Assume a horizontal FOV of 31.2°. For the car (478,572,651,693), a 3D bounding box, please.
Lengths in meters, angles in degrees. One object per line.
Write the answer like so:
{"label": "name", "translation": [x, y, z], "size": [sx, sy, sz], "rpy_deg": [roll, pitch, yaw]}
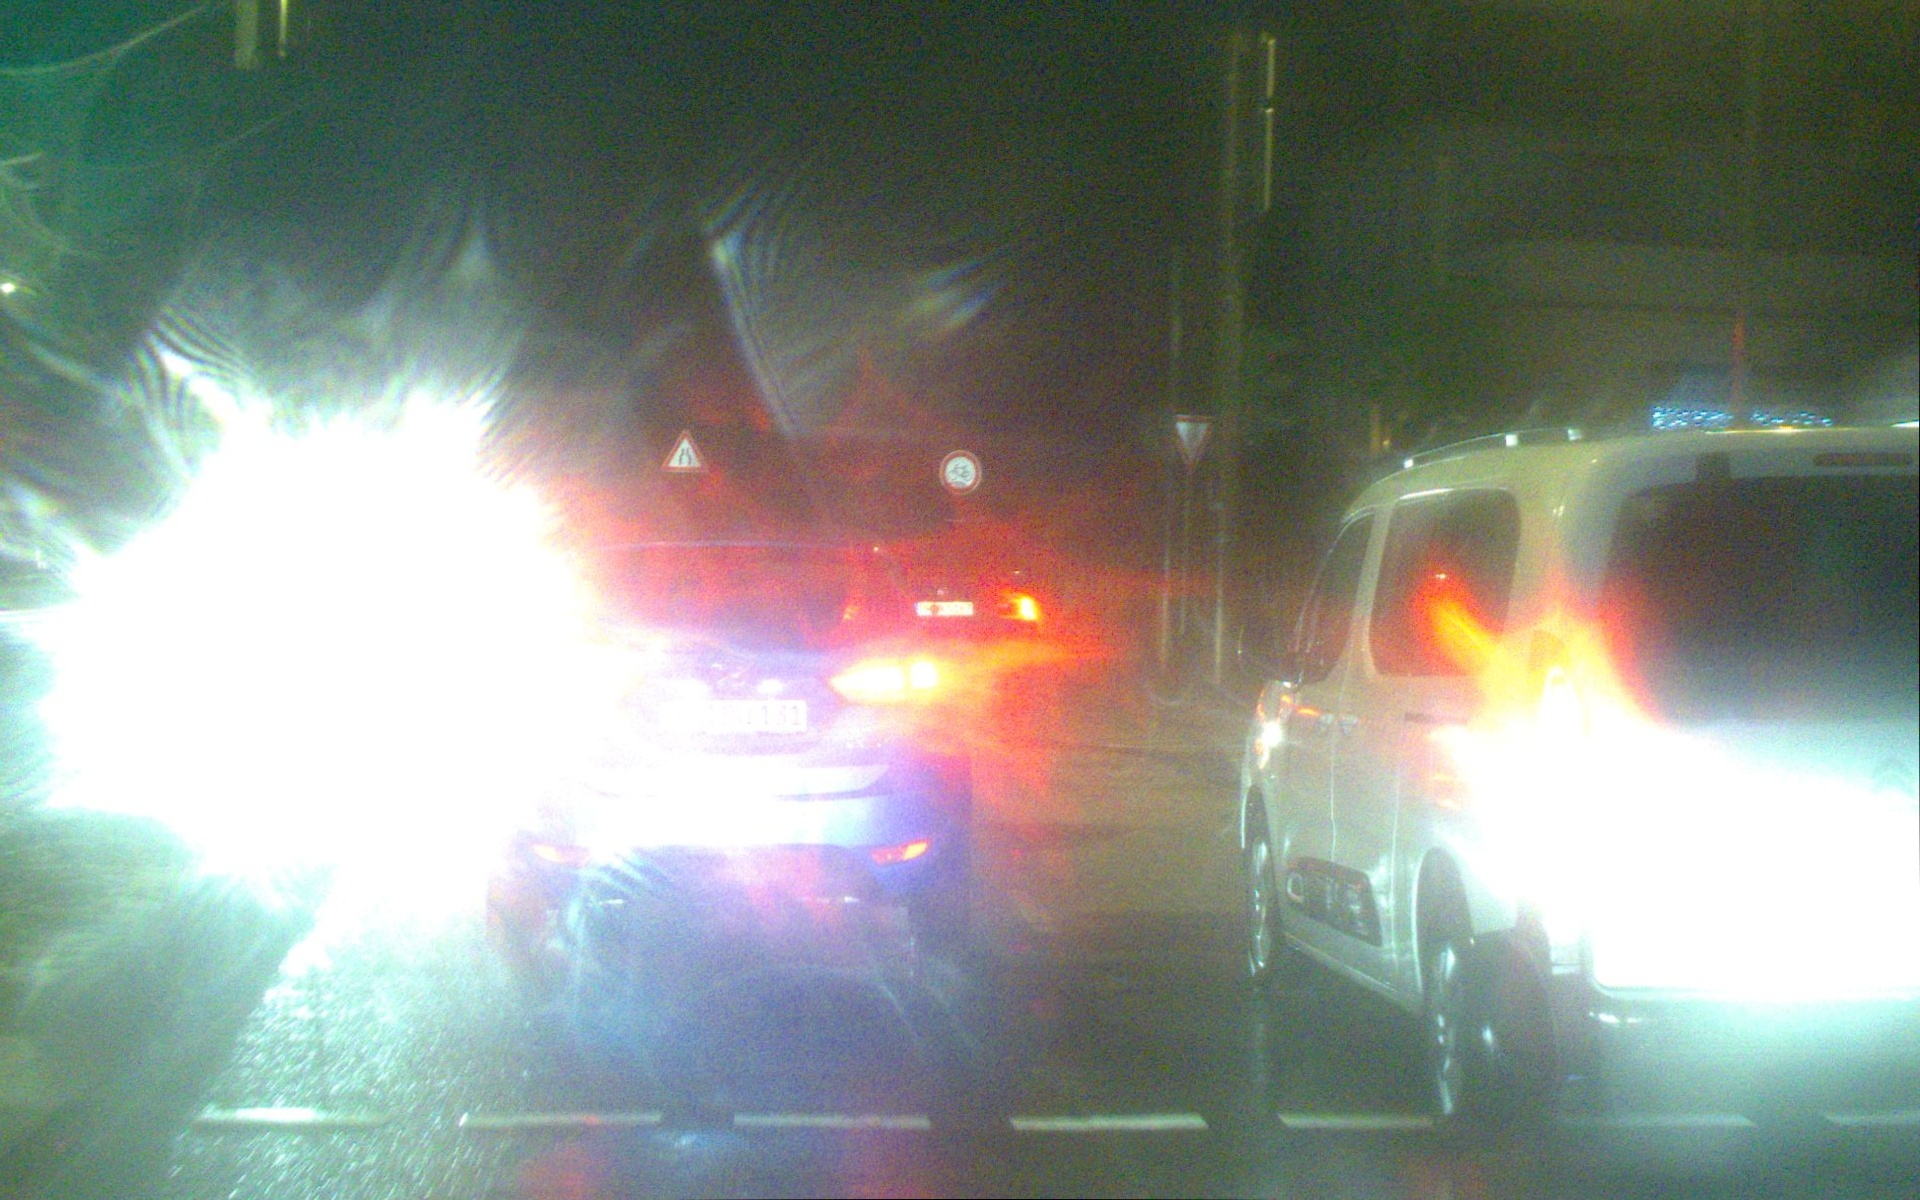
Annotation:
{"label": "car", "translation": [-6.070, 0.472, 52.354], "size": [1.993, 1.712, 4.001], "rpy_deg": [1, 1, -16]}

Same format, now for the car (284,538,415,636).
{"label": "car", "translation": [-11.387, -0.266, 63.928], "size": [1.993, 1.726, 4.001], "rpy_deg": [1, 1, -16]}

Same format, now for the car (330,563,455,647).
{"label": "car", "translation": [-11.994, 0.080, 72.499], "size": [1.993, 1.664, 4.001], "rpy_deg": [1, 1, -18]}

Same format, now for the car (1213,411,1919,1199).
{"label": "car", "translation": [1.928, 0.485, 9.990], "size": [1.851, 1.858, 4.341], "rpy_deg": [1, 1, -2]}

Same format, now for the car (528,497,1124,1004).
{"label": "car", "translation": [-0.578, 0.485, 14.006], "size": [2.014, 1.711, 4.452], "rpy_deg": [1, 1, -3]}

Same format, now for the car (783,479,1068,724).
{"label": "car", "translation": [-0.386, -0.014, 30.938], "size": [1.968, 2.040, 4.001], "rpy_deg": [1, 1, -9]}

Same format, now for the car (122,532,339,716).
{"label": "car", "translation": [-8.151, 0.219, 38.147], "size": [2.014, 1.880, 4.453], "rpy_deg": [1, 1, -16]}

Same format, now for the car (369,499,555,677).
{"label": "car", "translation": [-6.008, -0.168, 41.130], "size": [1.993, 2.007, 4.001], "rpy_deg": [1, 1, -11]}
